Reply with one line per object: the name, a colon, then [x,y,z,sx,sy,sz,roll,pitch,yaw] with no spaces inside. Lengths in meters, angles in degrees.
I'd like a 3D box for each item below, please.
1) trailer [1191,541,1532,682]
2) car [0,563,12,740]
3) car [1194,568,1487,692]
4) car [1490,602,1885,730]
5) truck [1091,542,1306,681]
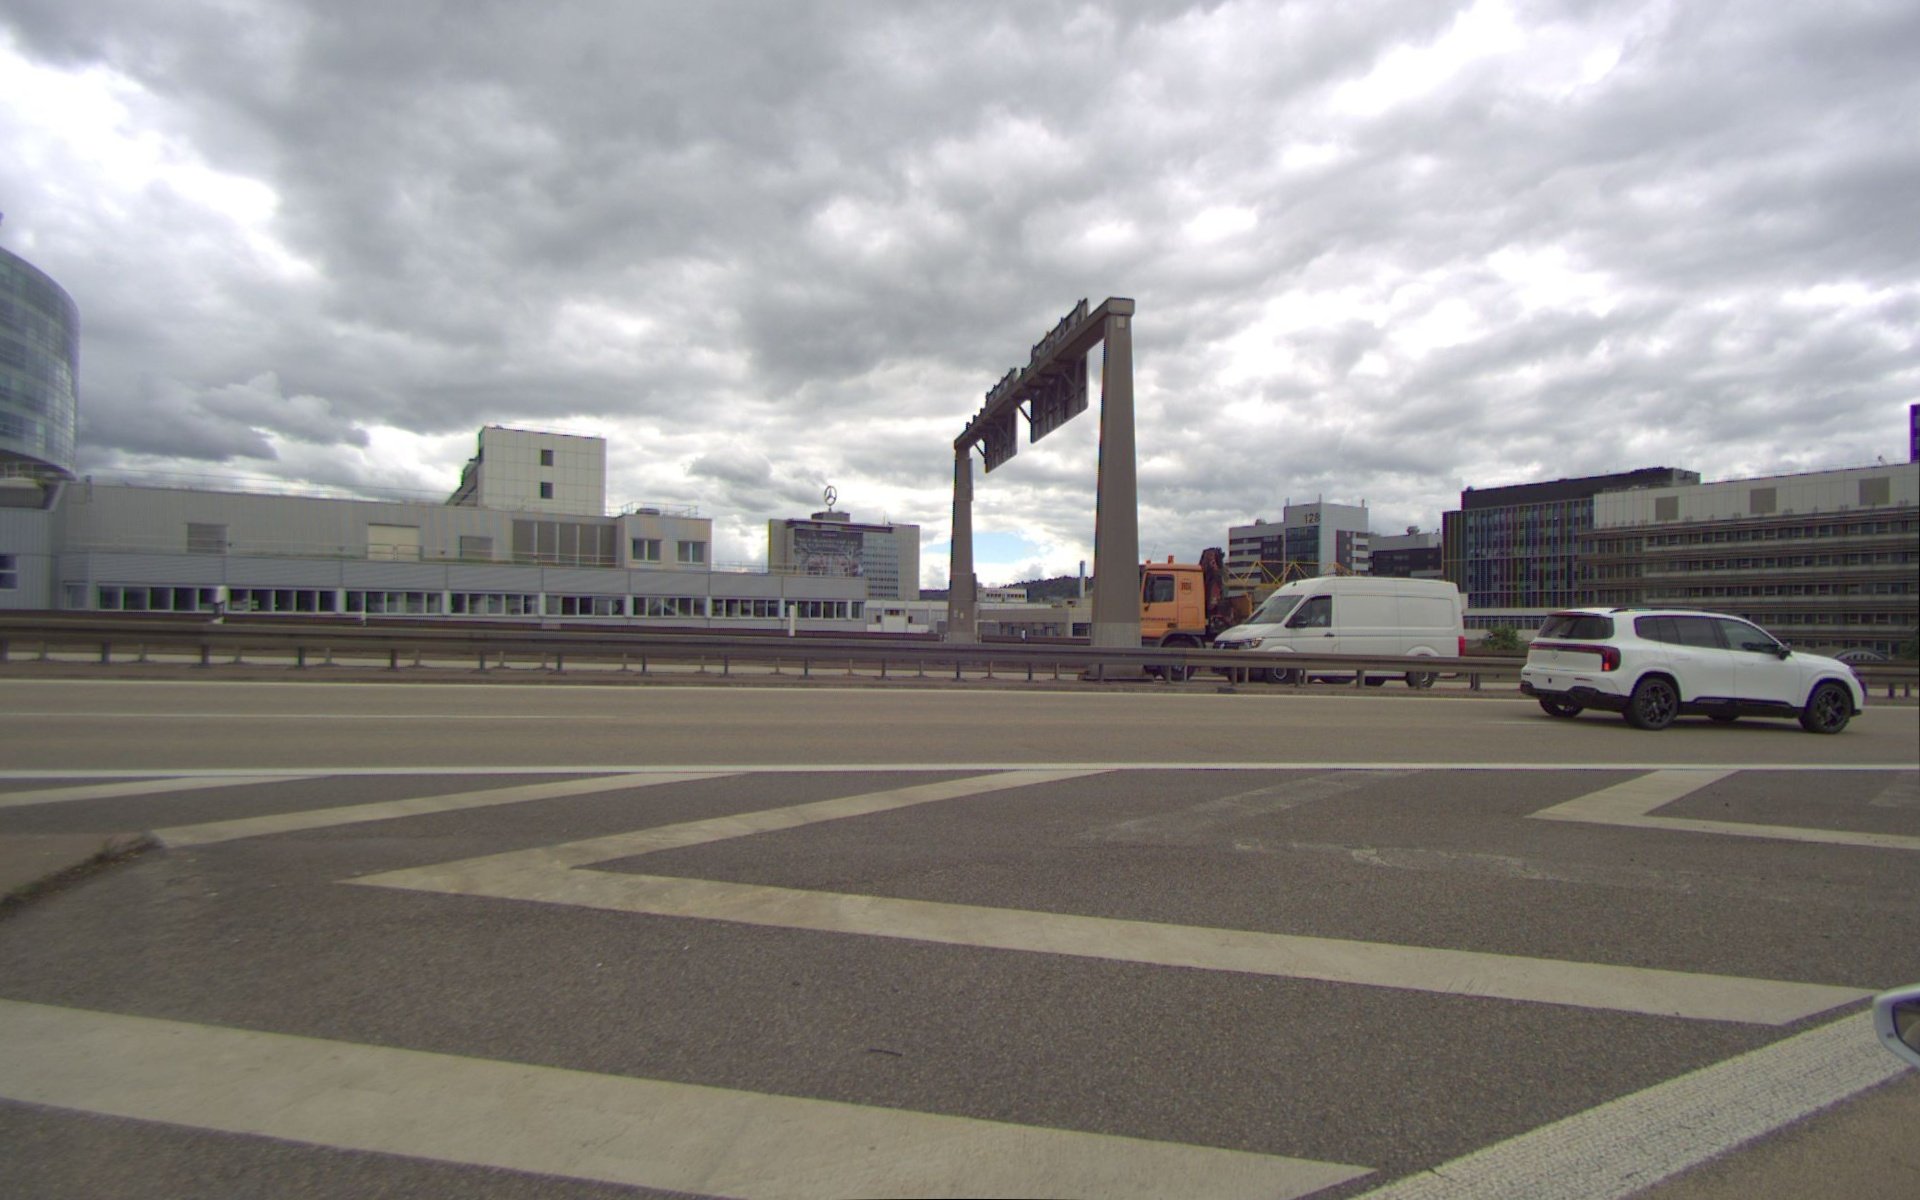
trailer: [11.430,0.458,28.694,9.197,3.684,2.736,1,-3,-14]
car: [-10.004,0.403,7.473,3.931,1.517,1.710,1,0,-13]
car: [8.953,0.729,23.853,6.083,2.679,2.581,1,-1,-12]
car: [10.722,0.957,14.952,4.804,1.690,1.996,2,-1,-10]
truck: [6.430,0.395,27.429,5.019,3.525,2.744,1,-3,-14]
